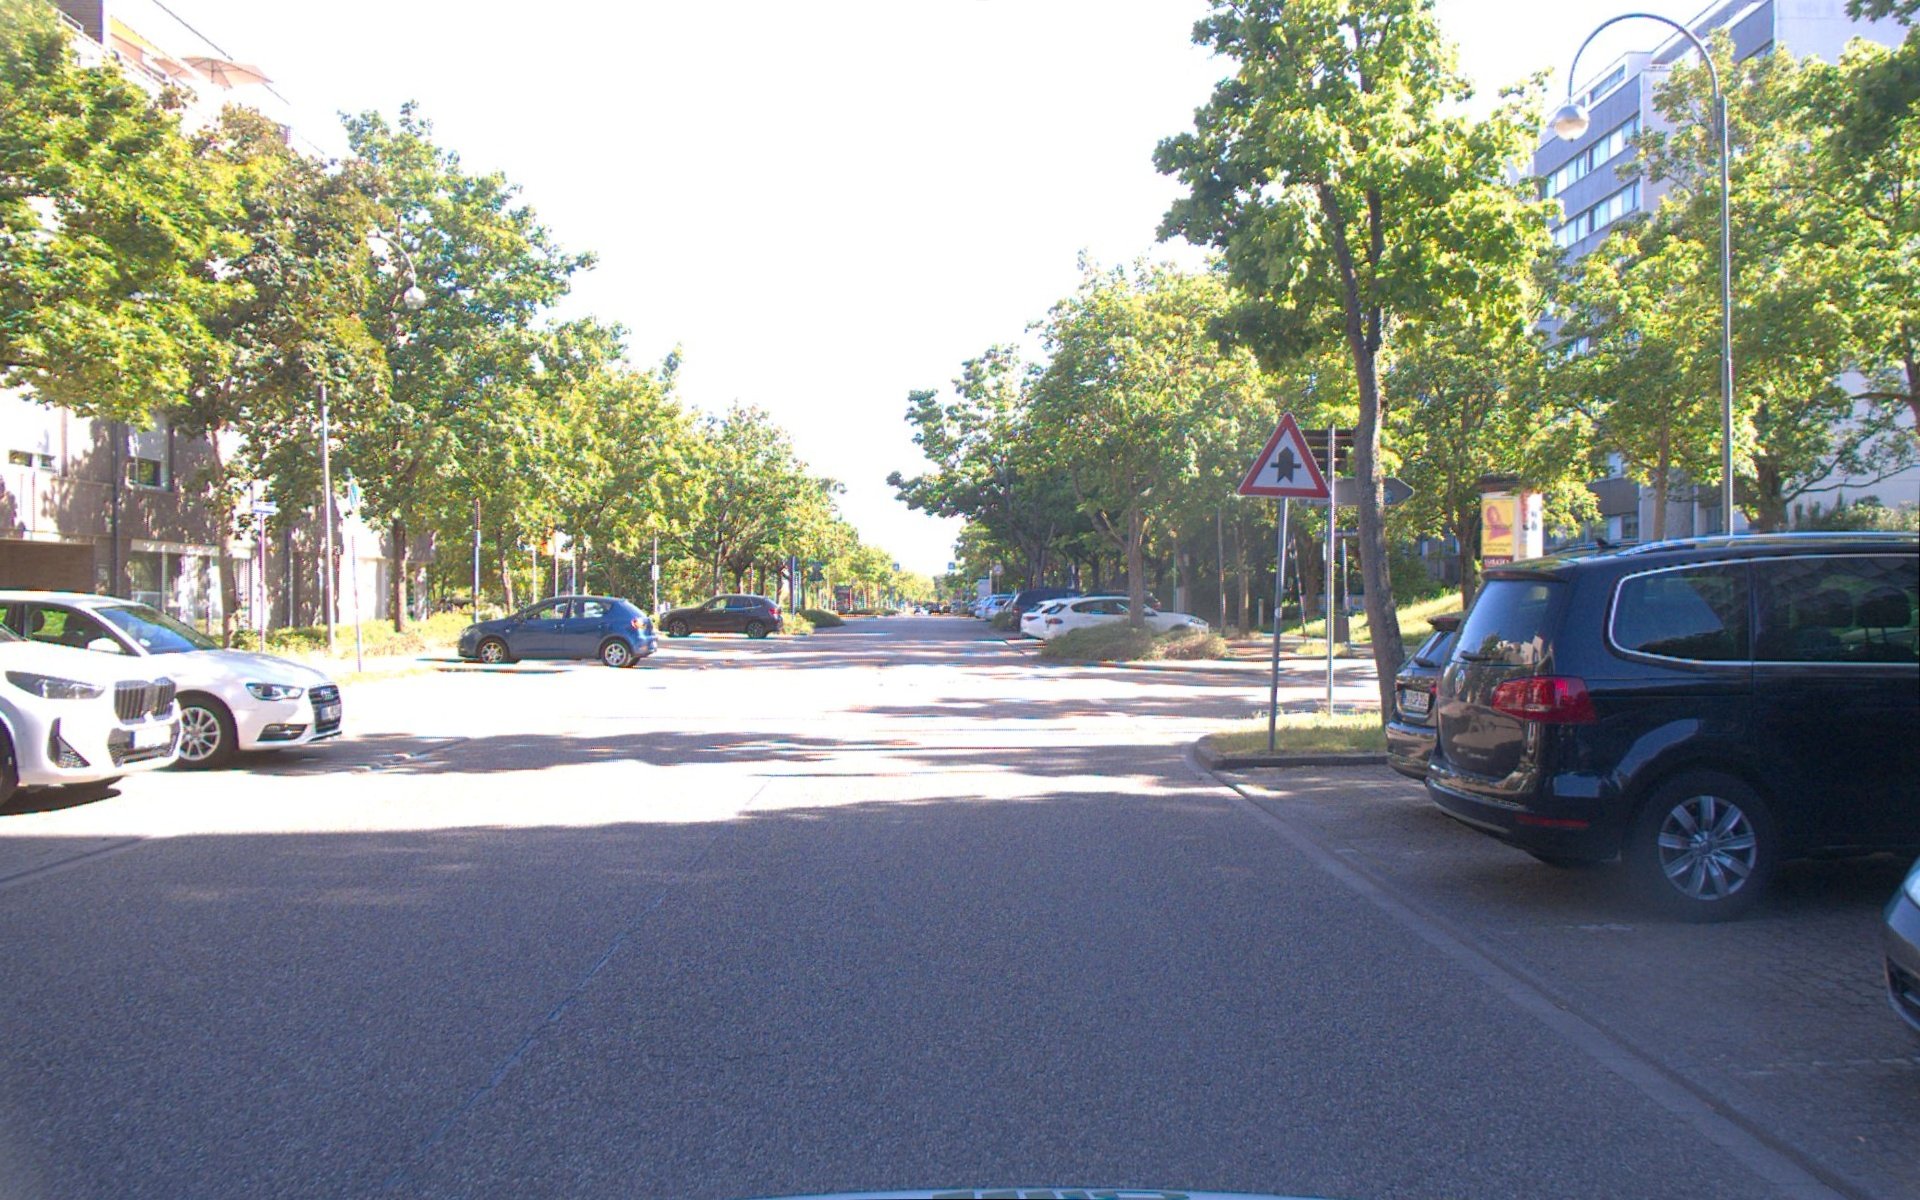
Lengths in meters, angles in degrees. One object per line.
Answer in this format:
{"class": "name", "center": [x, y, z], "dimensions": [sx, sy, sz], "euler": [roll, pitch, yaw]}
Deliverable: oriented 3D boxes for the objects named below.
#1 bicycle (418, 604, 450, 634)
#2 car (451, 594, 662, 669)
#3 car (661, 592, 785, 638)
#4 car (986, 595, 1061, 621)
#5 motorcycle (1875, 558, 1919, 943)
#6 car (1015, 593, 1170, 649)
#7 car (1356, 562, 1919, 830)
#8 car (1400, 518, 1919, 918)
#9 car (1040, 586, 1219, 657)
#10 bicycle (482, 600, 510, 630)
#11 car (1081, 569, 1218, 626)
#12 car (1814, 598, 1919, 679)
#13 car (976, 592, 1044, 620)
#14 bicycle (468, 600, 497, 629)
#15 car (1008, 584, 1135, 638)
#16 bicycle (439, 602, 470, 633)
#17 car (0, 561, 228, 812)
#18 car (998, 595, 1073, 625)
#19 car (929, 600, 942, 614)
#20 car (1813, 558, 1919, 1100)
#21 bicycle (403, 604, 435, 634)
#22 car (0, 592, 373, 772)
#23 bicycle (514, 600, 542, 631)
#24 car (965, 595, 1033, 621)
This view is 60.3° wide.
{"class": "bicycle", "center": [-18.918, 0.675, 59.517], "dimensions": [0.428, 1.066, 2.193], "euler": [1, 0, -1]}
{"class": "car", "center": [-8.158, 0.632, 33.753], "dimensions": [3.909, 1.436, 1.815], "euler": [1, 0, -5]}
{"class": "car", "center": [-8.319, 0.524, 58.371], "dimensions": [4.106, 1.547, 1.772], "euler": [1, 0, 0]}
{"class": "car", "center": [3.622, 0.458, 93.495], "dimensions": [4.184, 1.453, 1.828], "euler": [0, 0, 4]}
{"class": "motorcycle", "center": [5.121, 0.603, 6.798], "dimensions": [2.261, 1.607, 0.767], "euler": [-1, 0, 0]}
{"class": "car", "center": [3.885, 0.612, 48.886], "dimensions": [4.354, 1.572, 1.816], "euler": [1, 0, -4]}
{"class": "car", "center": [4.819, 0.584, 11.327], "dimensions": [3.759, 1.471, 1.591], "euler": [-3, 2, -4]}
{"class": "car", "center": [4.268, 0.521, 8.402], "dimensions": [3.596, 1.781, 1.724], "euler": [-1, 0, 1]}
{"class": "car", "center": [4.345, 0.546, 42.897], "dimensions": [4.339, 1.620, 1.835], "euler": [-2, 0, -4]}
{"class": "bicycle", "center": [-17.078, 0.539, 60.863], "dimensions": [0.428, 1.066, 2.193], "euler": [1, 0, -1]}
{"class": "car", "center": [5.960, -0.057, 52.243], "dimensions": [4.036, 1.646, 1.732], "euler": [-2, -1, -3]}
{"class": "car", "center": [19.495, 0.755, 33.099], "dimensions": [3.907, 1.557, 1.834], "euler": [0, 0, -2]}
{"class": "car", "center": [3.319, 0.381, 110.067], "dimensions": [4.347, 1.676, 1.815], "euler": [-3, 0, -3]}
{"class": "bicycle", "center": [-17.562, 0.524, 60.871], "dimensions": [0.428, 1.066, 2.193], "euler": [1, 0, -1]}
{"class": "car", "center": [4.060, 0.404, 61.027], "dimensions": [4.493, 1.810, 2.000], "euler": [-2, 0, -1]}
{"class": "bicycle", "center": [-18.110, 0.621, 59.260], "dimensions": [0.428, 1.066, 2.193], "euler": [1, 0, -1]}
{"class": "car", "center": [-7.763, 0.524, 11.812], "dimensions": [4.139, 1.630, 1.952], "euler": [2, -1, -1]}
{"class": "car", "center": [4.025, 0.520, 88.671], "dimensions": [3.906, 1.476, 1.717], "euler": [-2, 0, -1]}
{"class": "car", "center": [-3.627, 1.057, 247.228], "dimensions": [1.953, 2.049, 3.999], "euler": [1, 0, -1]}
{"class": "car", "center": [4.732, 0.627, 4.619], "dimensions": [3.795, 1.592, 1.807], "euler": [-1, 0, -6]}
{"class": "bicycle", "center": [-19.443, 0.679, 59.508], "dimensions": [0.428, 1.066, 2.193], "euler": [1, 0, -1]}
{"class": "car", "center": [-7.655, 0.685, 14.765], "dimensions": [4.172, 1.506, 1.799], "euler": [0, 0, -2]}
{"class": "bicycle", "center": [-15.507, 0.555, 59.374], "dimensions": [0.428, 1.066, 2.193], "euler": [1, 0, -1]}
{"class": "car", "center": [2.545, 0.506, 107.351], "dimensions": [4.256, 1.515, 1.737], "euler": [-2, 0, -3]}
